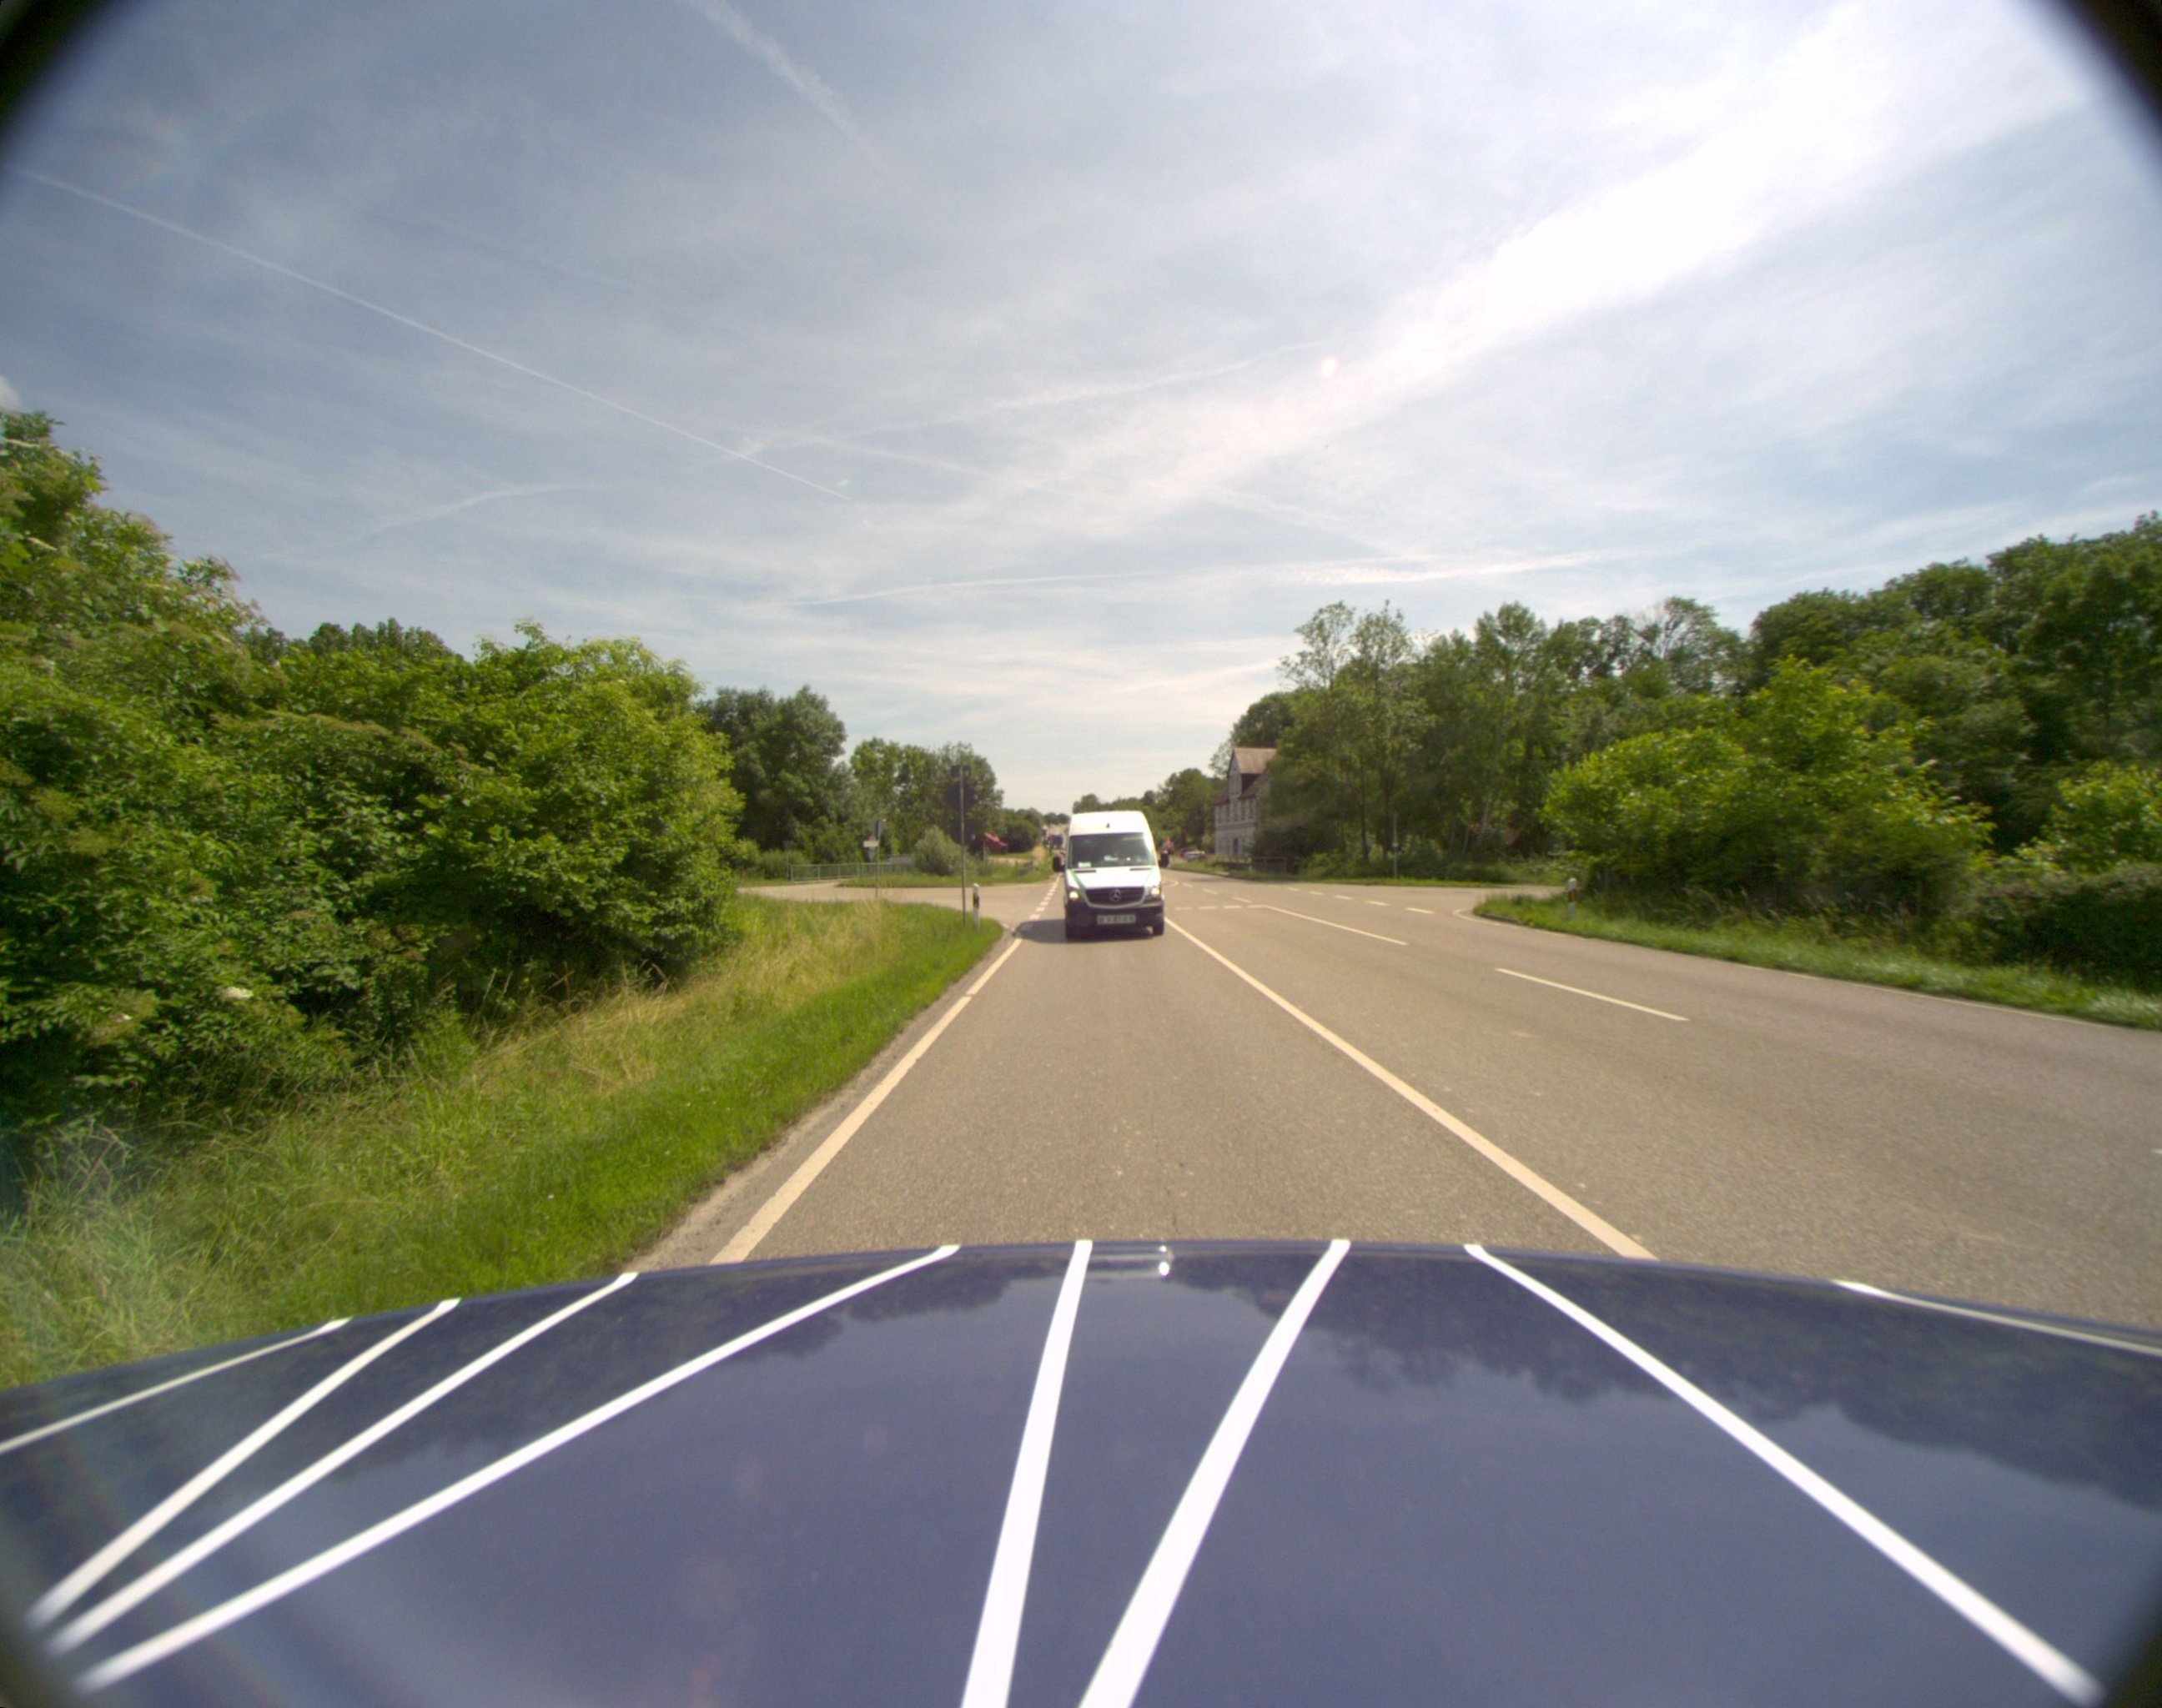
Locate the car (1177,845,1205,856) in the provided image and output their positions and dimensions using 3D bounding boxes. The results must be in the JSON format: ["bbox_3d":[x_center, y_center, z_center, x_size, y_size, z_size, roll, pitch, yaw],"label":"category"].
[{"bbox_3d":[17.582,-0.602,121.511,4.037,1.609,1.832,-2,2,0],"label":"car"}]

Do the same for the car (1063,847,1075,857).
[{"bbox_3d":[-2.102,-0.379,133.903,1.849,1.693,4.239,-1,3,-3],"label":"car"}]

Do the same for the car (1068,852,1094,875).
[{"bbox_3d":[-0.019,0.707,56.973,1.848,1.692,4.242,-1,0,-1],"label":"car"}]

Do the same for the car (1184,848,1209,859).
[{"bbox_3d":[16.942,-0.121,111.465,3.387,1.457,1.609,-2,2,-7],"label":"car"}]

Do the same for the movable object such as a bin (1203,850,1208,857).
[{"bbox_3d":[17.835,-0.116,108.871,0.505,0.971,0.654,-2,3,-9],"label":"movable object such as a bin"}]

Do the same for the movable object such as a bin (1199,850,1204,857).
[{"bbox_3d":[17.212,-0.077,108.794,0.505,0.966,0.654,-2,3,-9],"label":"movable object such as a bin"}]

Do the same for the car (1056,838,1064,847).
[{"bbox_3d":[-5.523,-3.035,200.013,1.999,2.166,3.999,-2,1,0],"label":"car"}]

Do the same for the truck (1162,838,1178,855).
[{"bbox_3d":[16.588,-1.509,142.396,2.031,2.947,6.771,-2,2,0],"label":"truck"}]

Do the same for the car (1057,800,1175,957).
[{"bbox_3d":[0.563,0.419,16.016,1.961,2.655,5.680,-2,0,-1],"label":"car"}]
